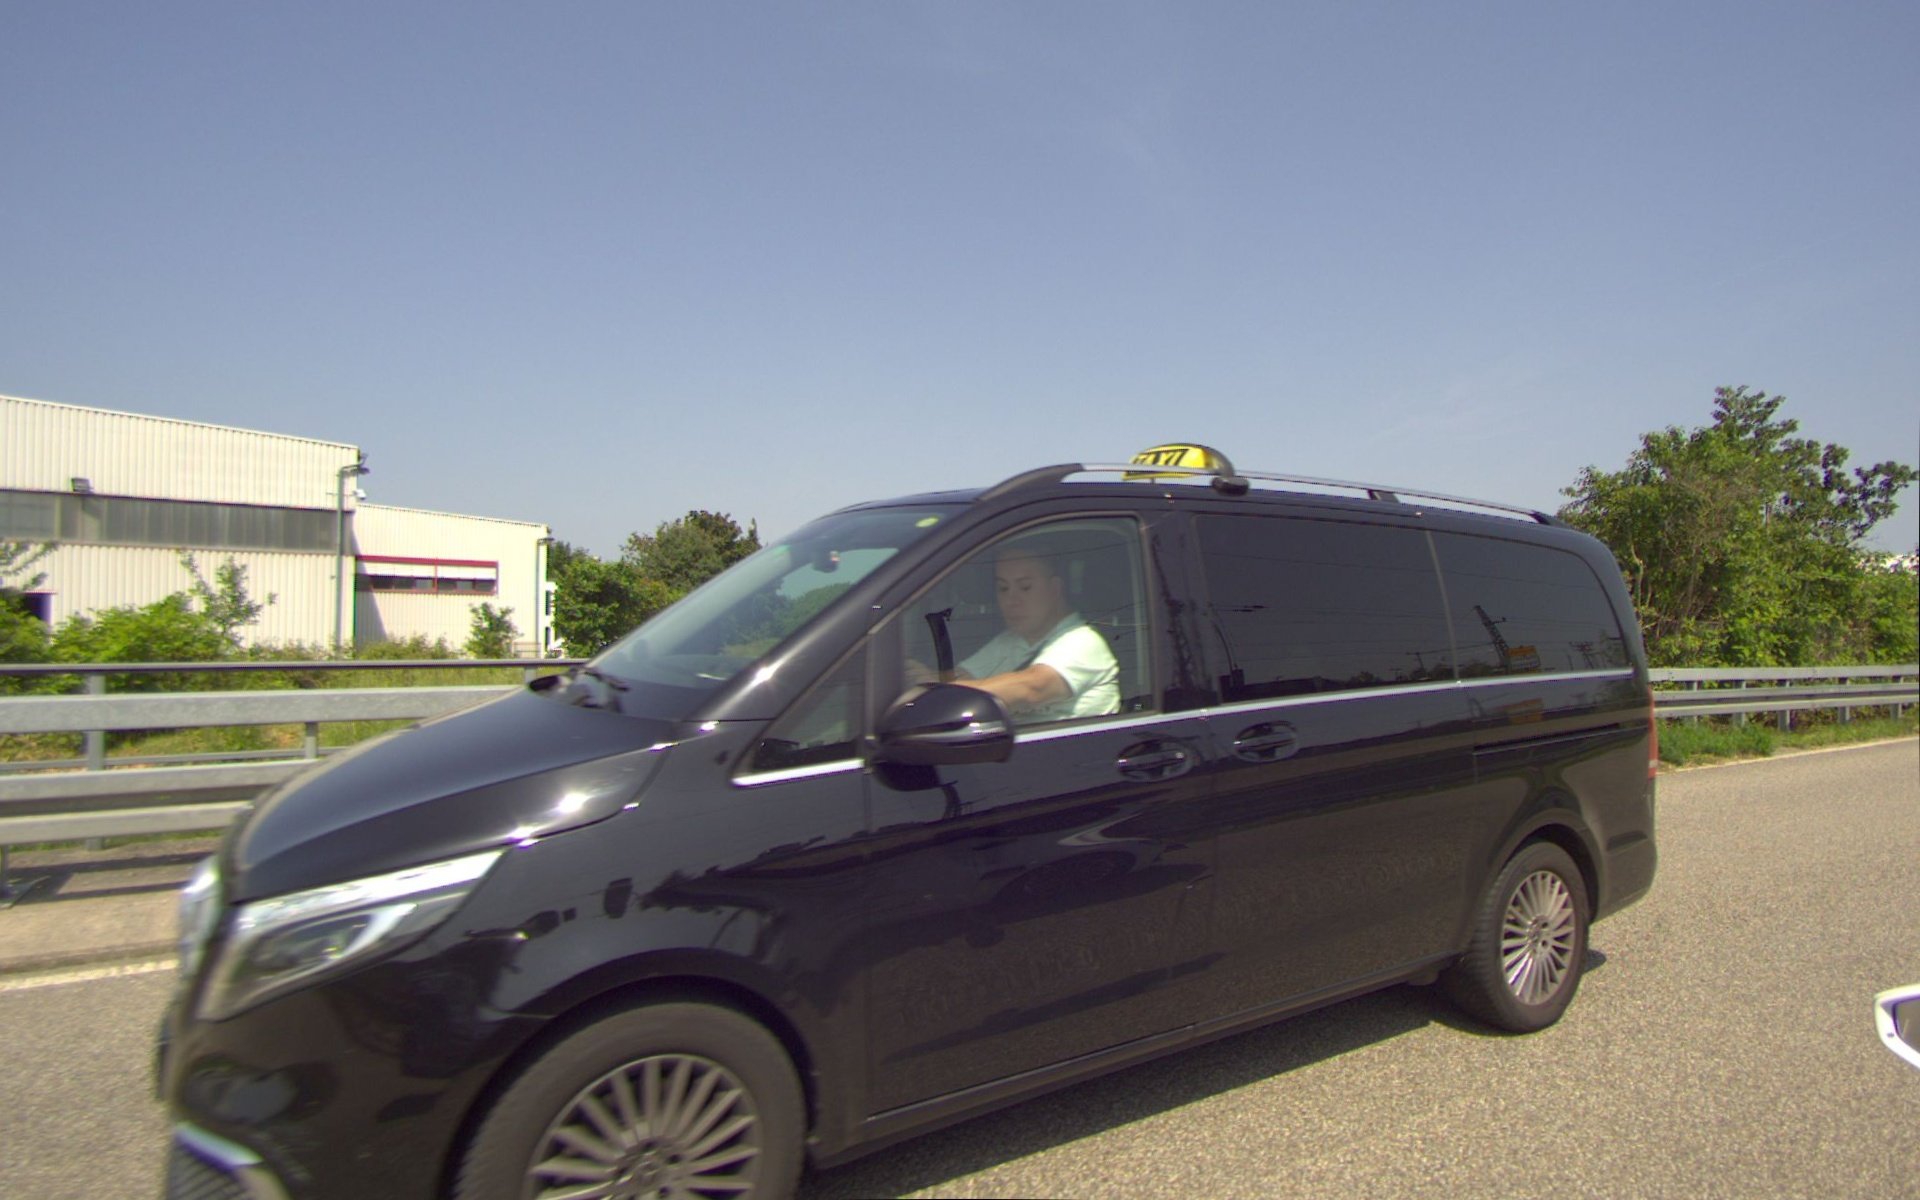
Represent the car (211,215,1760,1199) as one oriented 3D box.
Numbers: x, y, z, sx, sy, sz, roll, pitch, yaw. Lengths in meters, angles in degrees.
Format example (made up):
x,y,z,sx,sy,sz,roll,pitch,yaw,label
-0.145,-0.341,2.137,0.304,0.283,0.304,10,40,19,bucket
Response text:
x,y,z,sx,sy,sz,roll,pitch,yaw,label
0.654,0.466,3.740,5.307,2.040,1.883,1,0,-31,car
